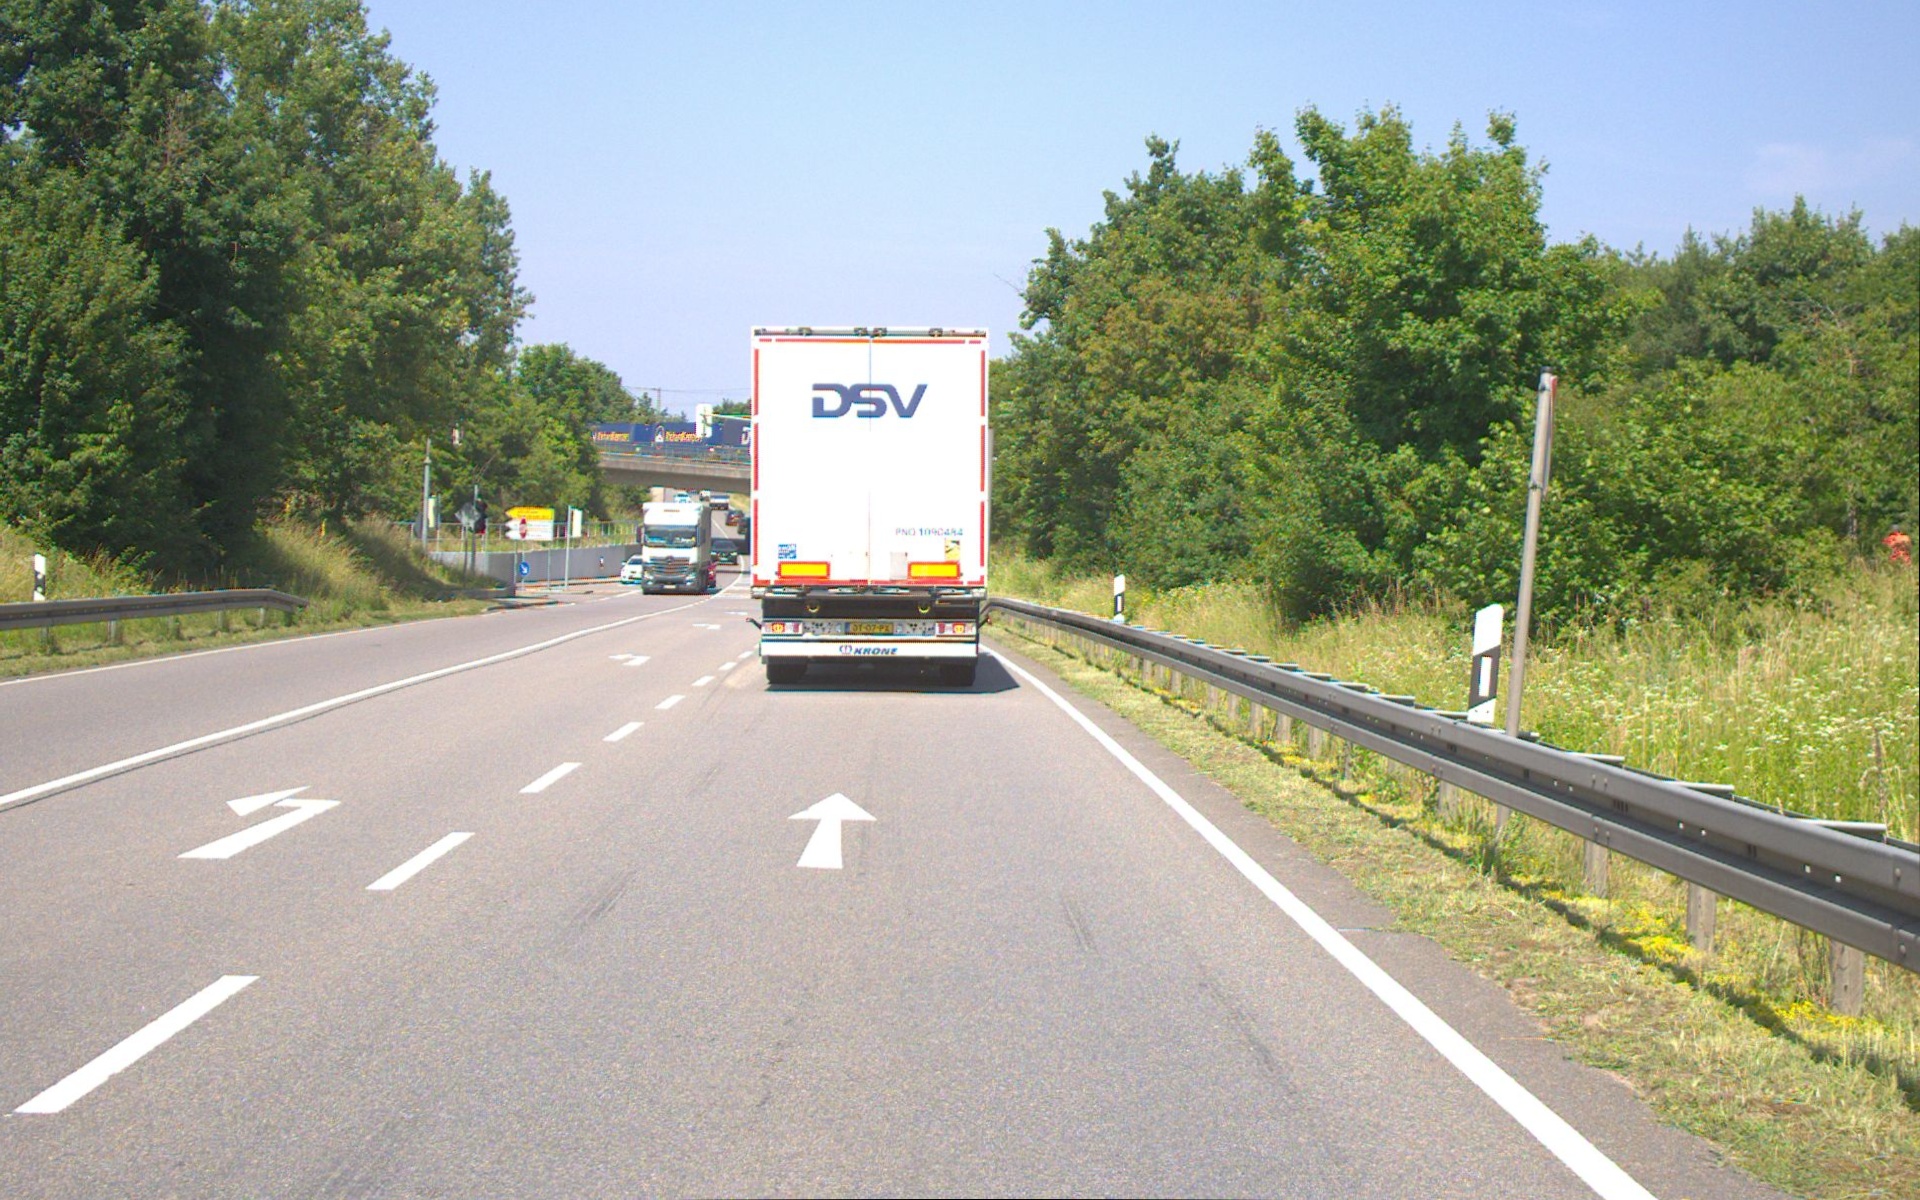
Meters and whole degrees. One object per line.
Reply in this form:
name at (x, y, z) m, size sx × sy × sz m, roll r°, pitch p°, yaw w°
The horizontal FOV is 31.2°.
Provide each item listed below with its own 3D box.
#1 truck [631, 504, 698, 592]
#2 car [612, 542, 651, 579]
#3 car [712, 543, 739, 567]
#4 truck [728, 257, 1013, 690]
truck at (-13.240, -2.363, 154.633) m, size 2.353 × 3.737 × 12.627 m, roll 1°, pitch 1°, yaw -2°
car at (-16.996, -2.071, 177.889) m, size 1.801 × 1.865 × 4.421 m, roll 1°, pitch 1°, yaw -8°
car at (-16.294, -3.144, 239.018) m, size 1.747 × 1.620 × 3.704 m, roll 1°, pitch 1°, yaw -2°
truck at (-1.016, -1.401, 41.484) m, size 2.950 × 4.553 × 9.863 m, roll 1°, pitch 1°, yaw -1°
